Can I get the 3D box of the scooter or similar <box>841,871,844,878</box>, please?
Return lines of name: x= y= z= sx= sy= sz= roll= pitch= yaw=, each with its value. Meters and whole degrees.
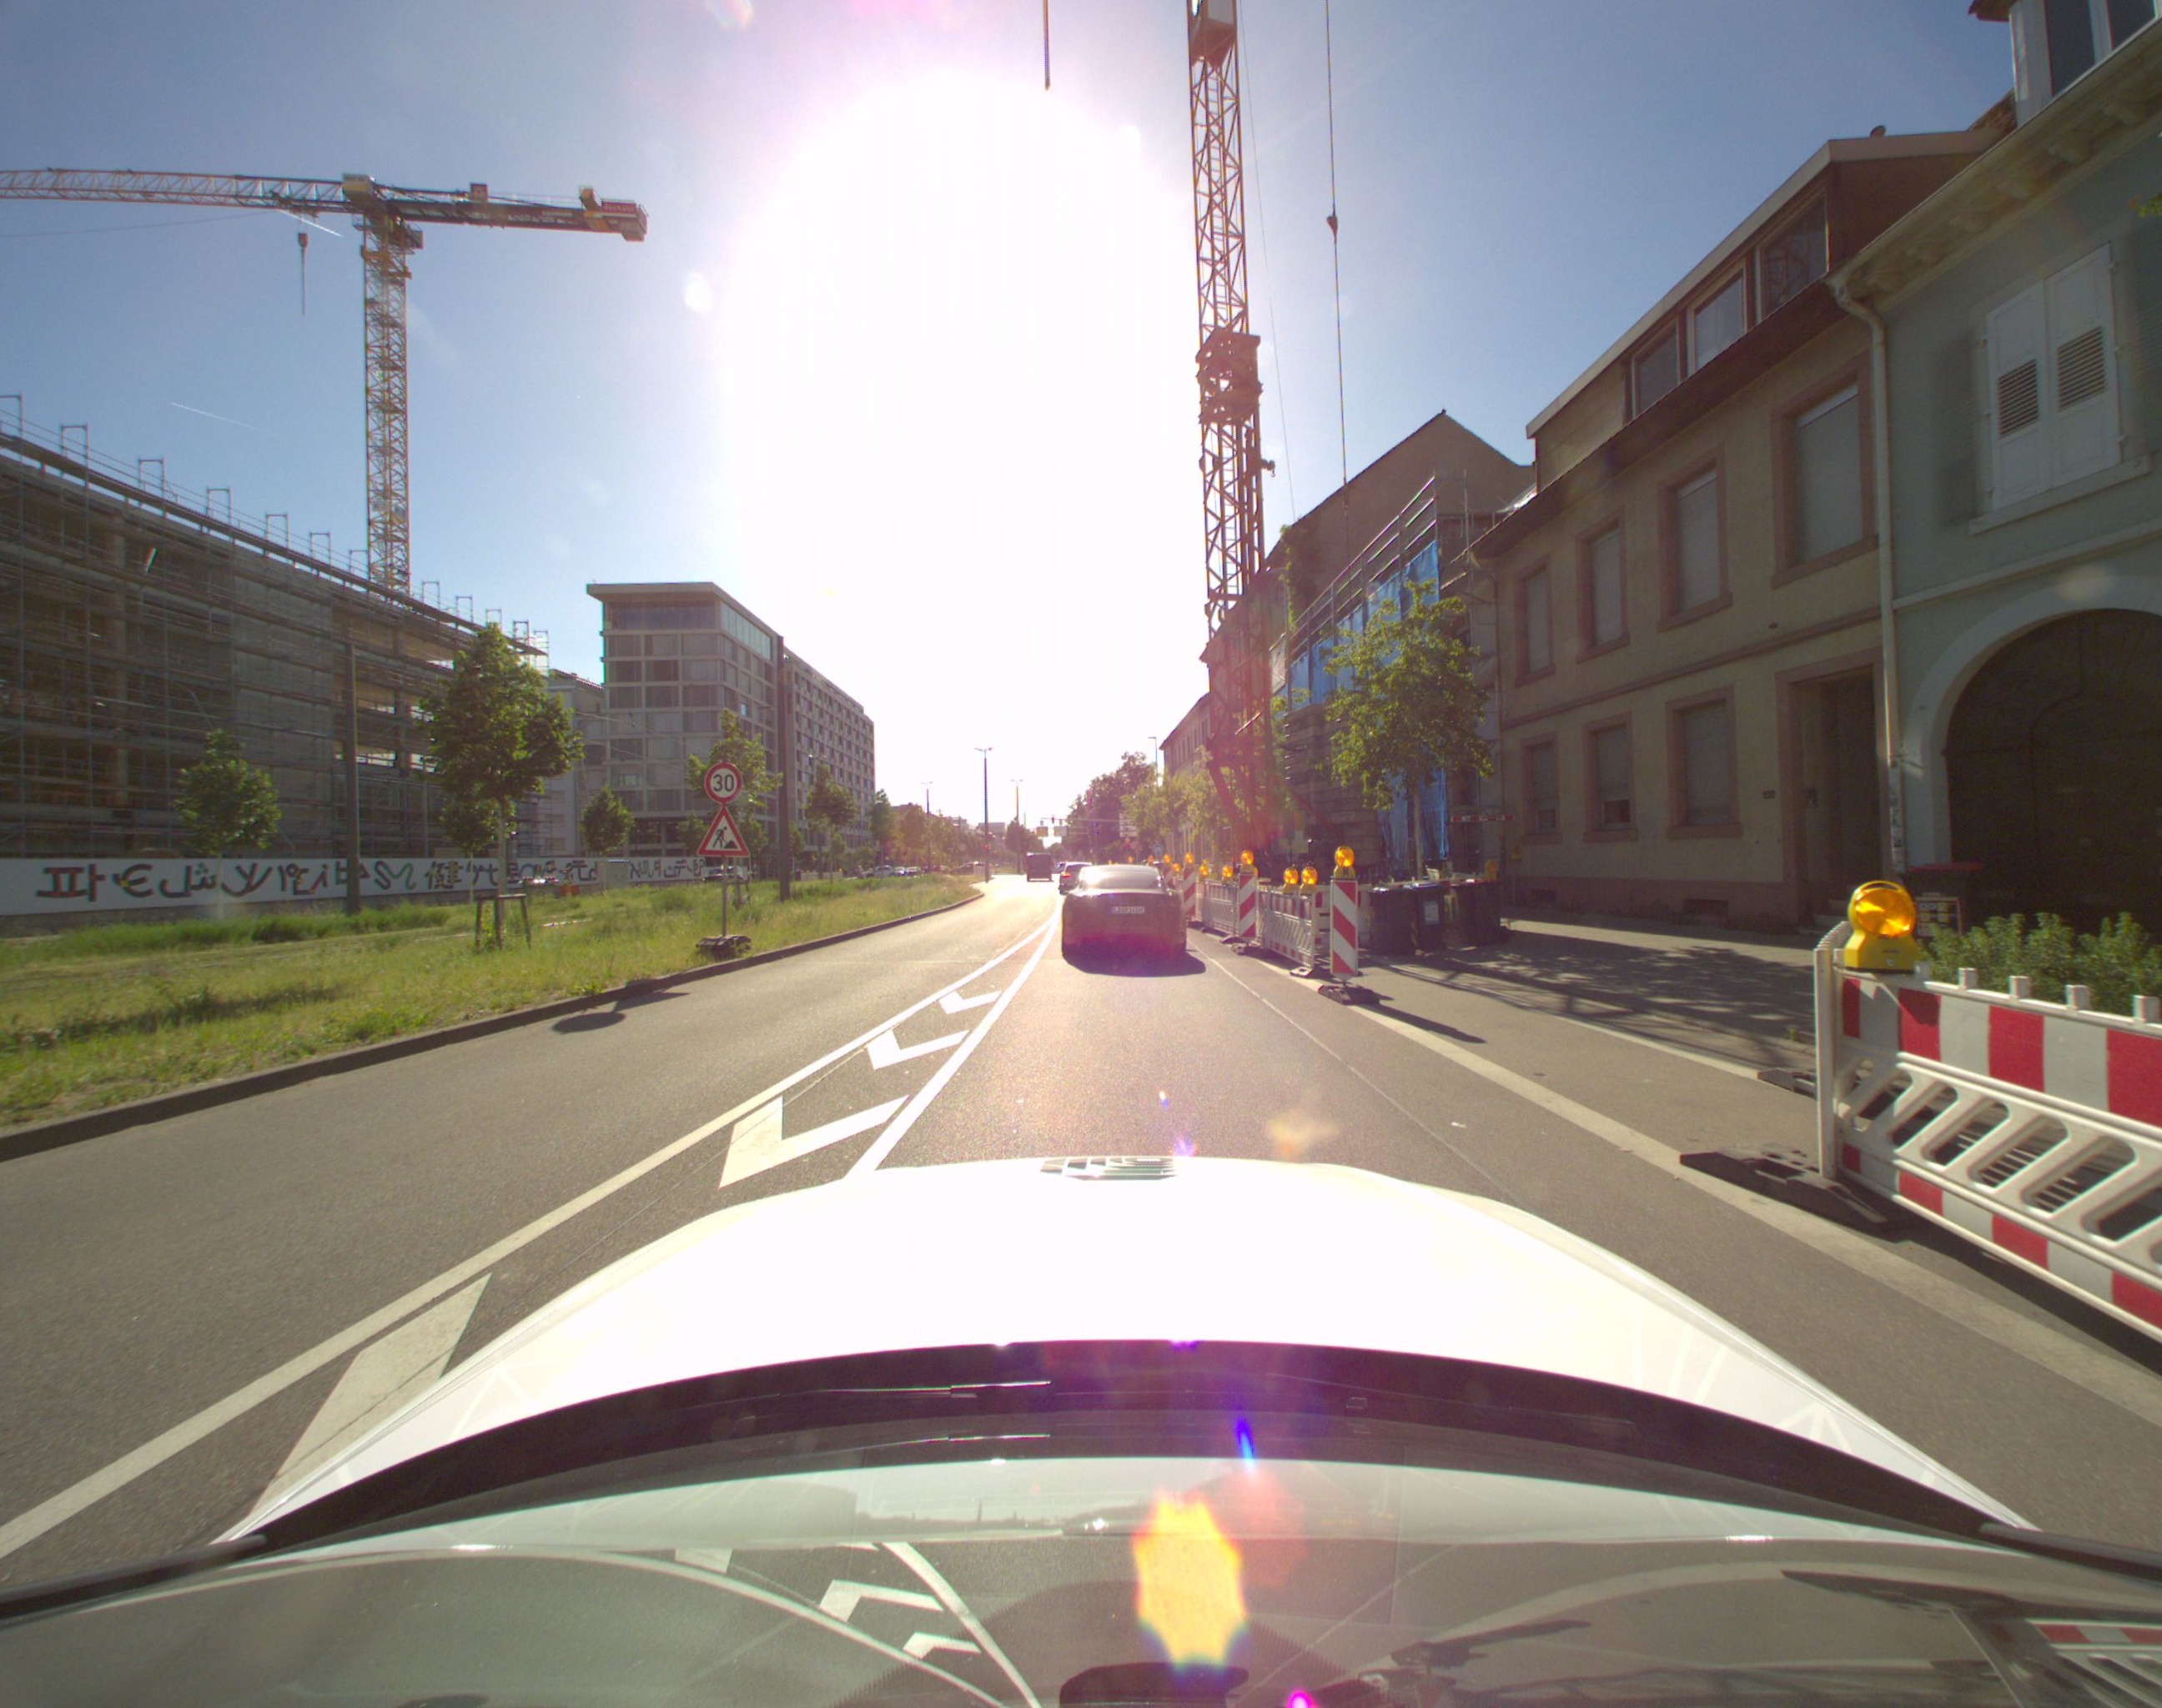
scooter or similar: x=-32.611 y=2.841 z=111.414 sx=0.285 sy=0.947 sz=0.765 roll=-1 pitch=-1 yaw=-9

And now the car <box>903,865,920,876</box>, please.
car: x=-26.130 y=2.565 z=125.464 sx=1.785 sy=1.651 sz=3.998 roll=-2 pitch=-1 yaw=-1

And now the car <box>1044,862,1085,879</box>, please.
car: x=-1.845 y=1.835 z=93.046 sx=4.494 sy=1.793 sz=2.001 roll=-2 pitch=-1 yaw=2

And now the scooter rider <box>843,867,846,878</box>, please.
scooter rider: x=-32.359 y=2.572 z=111.511 sx=0.341 sy=1.453 sz=0.239 roll=-2 pitch=-1 yaw=-1

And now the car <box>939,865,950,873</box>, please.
car: x=-29.748 y=3.323 z=177.890 sx=1.785 sy=1.651 sz=3.998 roll=-2 pitch=-1 yaw=-1

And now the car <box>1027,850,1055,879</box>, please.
car: x=-3.256 y=0.856 z=66.315 sx=2.213 sy=2.267 sz=4.480 roll=0 pitch=0 yaw=-3

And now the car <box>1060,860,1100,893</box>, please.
car: x=-0.110 y=0.997 z=38.087 sx=1.743 sy=1.427 sz=4.835 roll=-1 pitch=-1 yaw=-2

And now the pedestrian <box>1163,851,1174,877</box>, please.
pedestrian: x=6.737 y=0.780 z=62.517 sx=0.657 sy=1.913 sz=0.587 roll=-4 pitch=-1 yaw=-2

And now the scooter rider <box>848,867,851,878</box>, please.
scooter rider: x=-31.630 y=2.524 z=111.285 sx=0.341 sy=1.453 sz=0.239 roll=-2 pitch=-1 yaw=-1

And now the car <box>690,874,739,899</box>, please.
car: x=-30.556 y=2.667 z=68.041 sx=1.900 sy=1.918 sz=4.333 roll=-1 pitch=-1 yaw=4

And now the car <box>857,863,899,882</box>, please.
car: x=-21.703 y=1.973 z=86.997 sx=3.998 sy=1.918 sz=1.896 roll=-1 pitch=-1 yaw=-30

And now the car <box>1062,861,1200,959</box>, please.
car: x=0.690 y=0.856 z=14.361 sx=2.046 sy=1.444 sz=4.521 roll=0 pitch=-1 yaw=-2

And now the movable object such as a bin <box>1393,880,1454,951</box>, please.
movable object such as a bin: x=5.575 y=0.992 z=13.289 sx=0.593 sy=1.058 sz=0.730 roll=-5 pitch=0 yaw=-1

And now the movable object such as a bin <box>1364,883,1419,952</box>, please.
movable object such as a bin: x=4.969 y=1.005 z=13.070 sx=0.586 sy=1.058 sz=0.730 roll=0 pitch=-1 yaw=-1

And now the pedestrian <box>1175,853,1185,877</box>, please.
pedestrian: x=7.580 y=0.840 z=62.523 sx=0.561 sy=1.821 sz=0.587 roll=-4 pitch=-1 yaw=-2

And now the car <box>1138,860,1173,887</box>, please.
car: x=4.608 y=1.177 z=50.886 sx=1.643 sy=1.475 sz=4.698 roll=-4 pitch=-1 yaw=-1

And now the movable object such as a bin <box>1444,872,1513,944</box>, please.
movable object such as a bin: x=6.443 y=0.856 z=13.231 sx=0.587 sy=1.057 sz=0.782 roll=-6 pitch=0 yaw=-6

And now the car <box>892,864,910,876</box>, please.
car: x=-25.999 y=2.300 z=117.795 sx=1.785 sy=1.651 sz=3.998 roll=-2 pitch=-1 yaw=-1

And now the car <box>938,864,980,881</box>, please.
car: x=-13.759 y=2.078 z=91.592 sx=4.514 sy=1.793 sz=1.992 roll=-1 pitch=-1 yaw=-11
